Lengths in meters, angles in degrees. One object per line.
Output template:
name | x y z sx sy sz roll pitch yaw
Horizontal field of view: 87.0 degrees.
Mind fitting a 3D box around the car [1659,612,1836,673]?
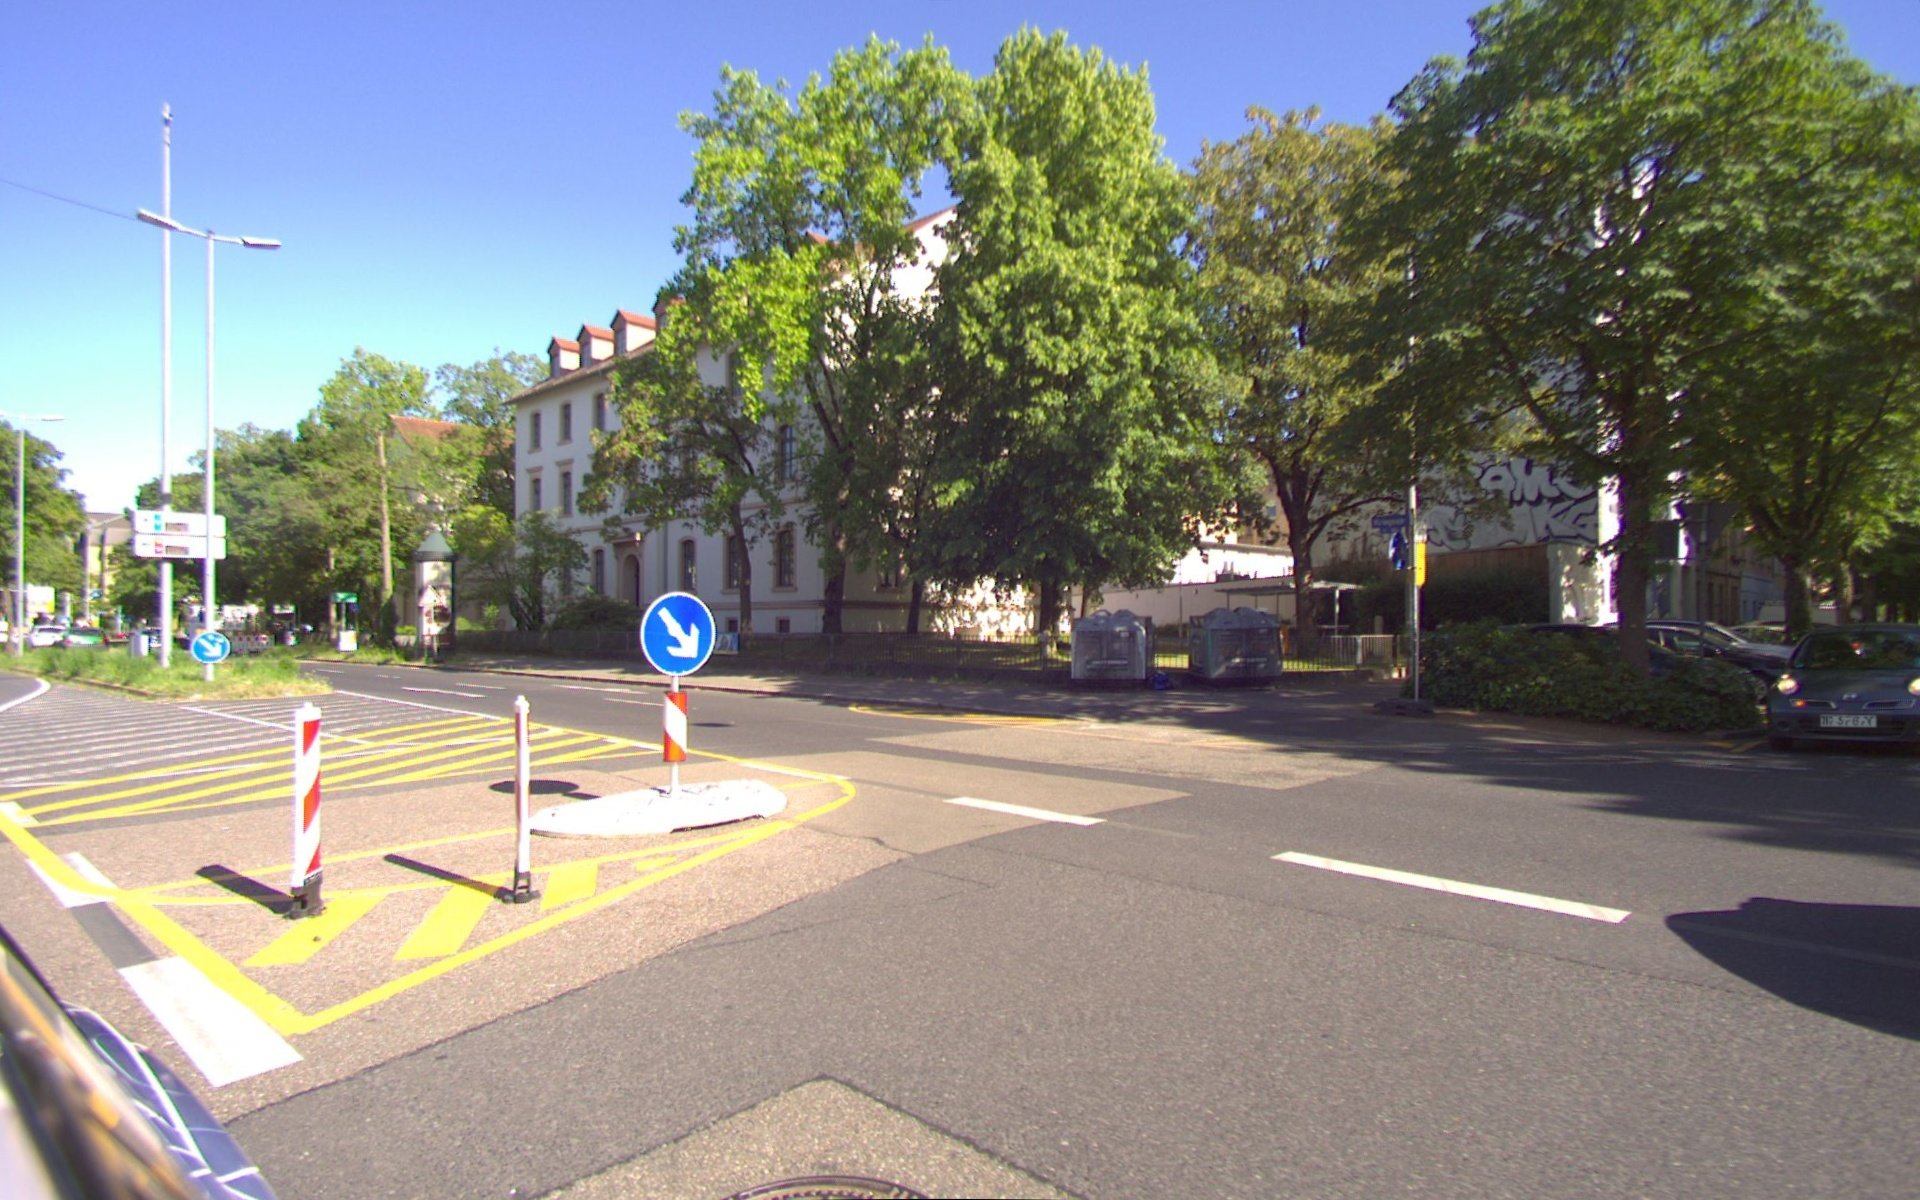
car | 23.241 1.197 29.942 3.999 1.501 1.826 3 2 41

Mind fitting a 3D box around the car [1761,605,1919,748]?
car | 11.258 0.823 12.310 3.940 1.481 1.812 0 -2 -44

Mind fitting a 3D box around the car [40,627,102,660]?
car | -43.794 2.116 49.827 4.254 1.530 1.622 -1 -2 39

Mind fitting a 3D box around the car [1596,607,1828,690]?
car | 16.672 1.001 22.535 3.999 1.501 1.826 3 2 41

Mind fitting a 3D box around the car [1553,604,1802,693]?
car | 14.705 0.909 20.848 3.999 1.501 1.826 3 2 41

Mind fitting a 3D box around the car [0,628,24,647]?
car | -77.576 3.034 82.173 4.664 1.530 1.819 -2 -2 41

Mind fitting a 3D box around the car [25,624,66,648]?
car | -63.605 2.482 70.397 1.879 1.638 4.539 2 -3 -45

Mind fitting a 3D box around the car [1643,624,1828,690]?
car | 21.814 1.538 28.537 3.999 1.501 1.826 3 2 41

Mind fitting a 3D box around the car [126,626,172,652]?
car | -51.108 2.429 63.766 4.425 1.530 1.775 -1 0 45

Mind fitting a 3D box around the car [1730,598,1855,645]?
car | 39.643 1.041 48.257 1.824 2.161 4.393 1 -2 -44
